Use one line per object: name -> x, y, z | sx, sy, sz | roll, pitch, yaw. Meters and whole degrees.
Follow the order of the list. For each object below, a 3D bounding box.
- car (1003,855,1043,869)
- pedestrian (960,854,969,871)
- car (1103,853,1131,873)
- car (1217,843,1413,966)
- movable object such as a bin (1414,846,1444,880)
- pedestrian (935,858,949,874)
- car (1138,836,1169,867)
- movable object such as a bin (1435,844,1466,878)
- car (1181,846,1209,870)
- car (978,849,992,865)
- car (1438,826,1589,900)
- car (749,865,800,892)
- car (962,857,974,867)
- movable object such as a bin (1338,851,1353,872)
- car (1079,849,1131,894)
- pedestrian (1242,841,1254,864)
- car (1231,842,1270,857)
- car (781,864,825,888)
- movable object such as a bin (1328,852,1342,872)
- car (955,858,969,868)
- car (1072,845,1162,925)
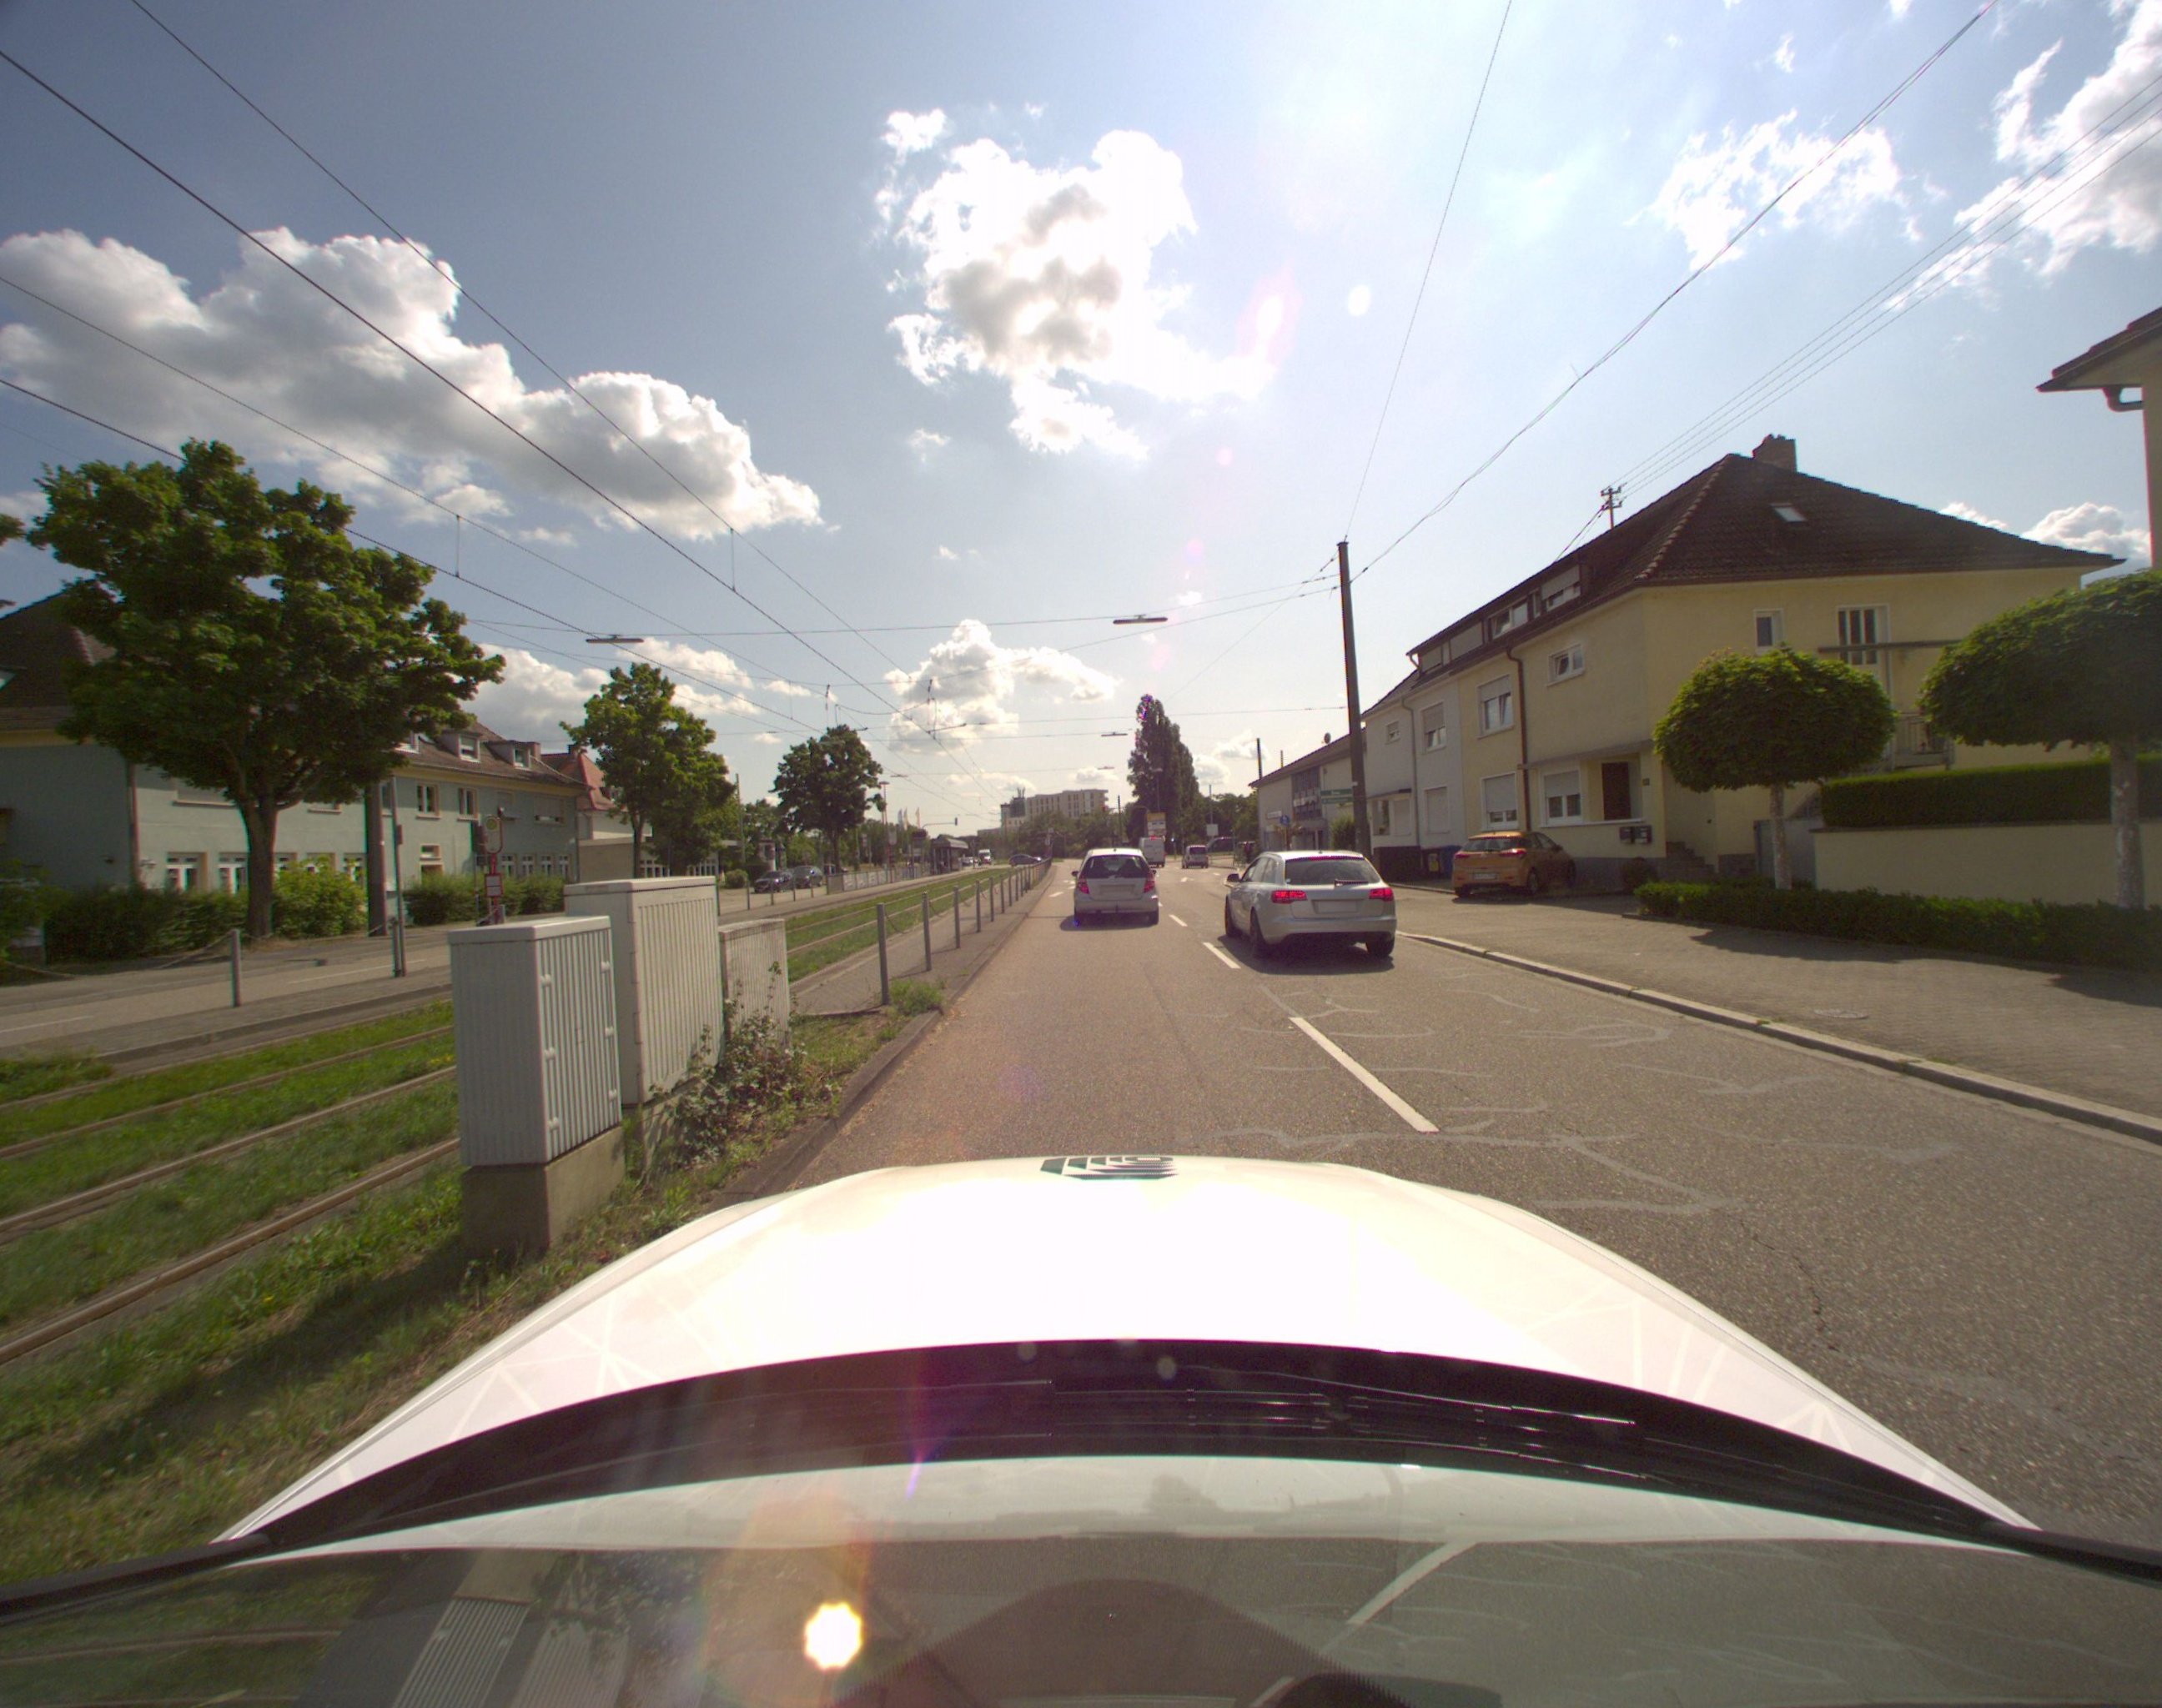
car -> -7.362, 1.020, 103.329 | 4.845, 1.660, 2.001 | -1, 0, 1
pedestrian -> -12.625, 0.870, 88.102 | 0.809, 1.795, 0.705 | -2, 0, -15
car -> 2.775, 0.657, 63.015 | 1.864, 1.419, 4.097 | -1, 0, -2
car -> 3.313, 0.630, 12.483 | 1.847, 1.492, 4.539 | -2, 0, 2
movable object such as a bin -> 11.146, 0.280, 26.070 | 0.636, 1.047, 0.684 | -2, 0, -2
pedestrian -> -11.957, 1.034, 70.085 | 1.056, 1.376, 0.860 | -1, -1, -2
car -> 6.268, -0.195, 71.128 | 2.035, 2.557, 5.227 | -2, 0, -2
movable object such as a bin -> 11.846, 0.234, 26.132 | 0.643, 1.055, 0.659 | -2, 0, -2
car -> 8.968, 0.288, 64.076 | 1.876, 1.731, 4.099 | -3, -1, 5
car -> -15.717, 0.550, 133.946 | 1.989, 2.606, 4.872 | -1, 0, -4
car -> 10.507, 0.168, 19.665 | 4.116, 1.457, 1.893 | -4, 2, -42
car -> -20.196, 1.593, 53.788 | 1.780, 1.584, 3.931 | -2, 0, 0
car -> -19.451, 1.377, 140.257 | 1.799, 1.541, 4.156 | -1, 0, -5
movable object such as a bin -> 12.528, 0.355, 38.554 | 0.440, 0.935, 0.548 | -3, 0, -6
car -> 0.905, 0.592, 30.075 | 1.732, 1.492, 4.632 | -2, 0, 2
pedestrian -> 13.095, -0.109, 63.922 | 0.719, 1.782, 0.703 | -5, 0, 1
car -> 19.333, -0.480, 92.851 | 4.108, 1.637, 1.872 | -1, -1, -32
car -> -20.433, 1.581, 60.014 | 2.058, 1.614, 4.742 | -3, 0, -7
movable object such as a bin -> 12.026, 0.384, 38.538 | 0.444, 0.895, 0.545 | -3, 0, -6
car -> -19.254, 1.396, 132.042 | 1.893, 1.541, 3.722 | -1, 0, -5
car -> 0.772, 0.607, 18.259 | 1.780, 1.577, 4.096 | 0, 0, 2
